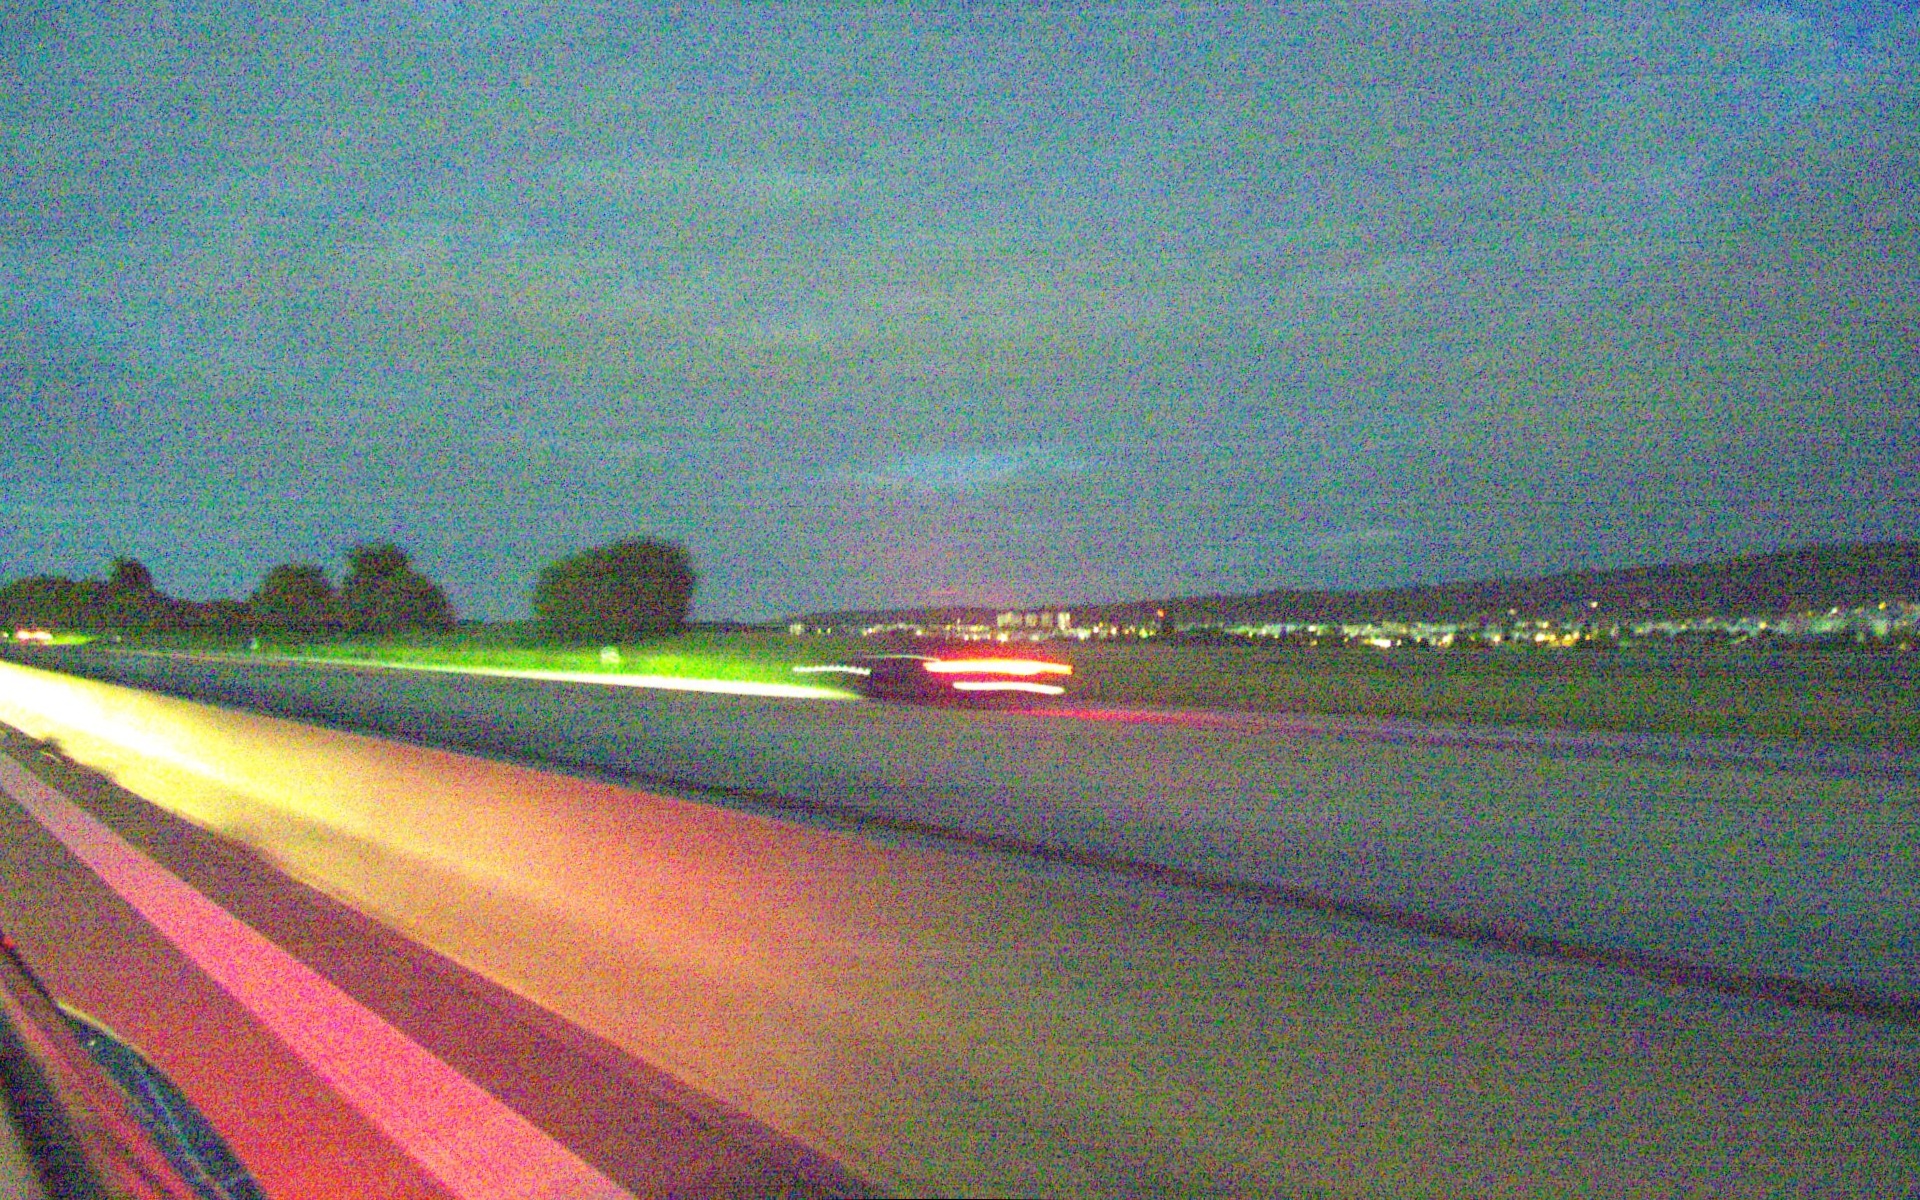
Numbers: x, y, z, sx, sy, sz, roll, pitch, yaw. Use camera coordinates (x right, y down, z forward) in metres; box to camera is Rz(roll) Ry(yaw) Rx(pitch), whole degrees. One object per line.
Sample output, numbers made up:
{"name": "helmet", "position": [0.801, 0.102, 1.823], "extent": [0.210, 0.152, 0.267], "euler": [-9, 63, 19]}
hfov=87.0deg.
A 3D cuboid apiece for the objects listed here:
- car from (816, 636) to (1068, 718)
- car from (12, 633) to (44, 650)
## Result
{"name": "car", "position": [-0.467, 1.479, 20.313], "extent": [4.978, 1.430, 1.973], "euler": [-1, -4, 40]}
{"name": "car", "position": [-100.344, 4.493, 108.933], "extent": [4.773, 1.733, 2.023], "euler": [-2, -4, 42]}
